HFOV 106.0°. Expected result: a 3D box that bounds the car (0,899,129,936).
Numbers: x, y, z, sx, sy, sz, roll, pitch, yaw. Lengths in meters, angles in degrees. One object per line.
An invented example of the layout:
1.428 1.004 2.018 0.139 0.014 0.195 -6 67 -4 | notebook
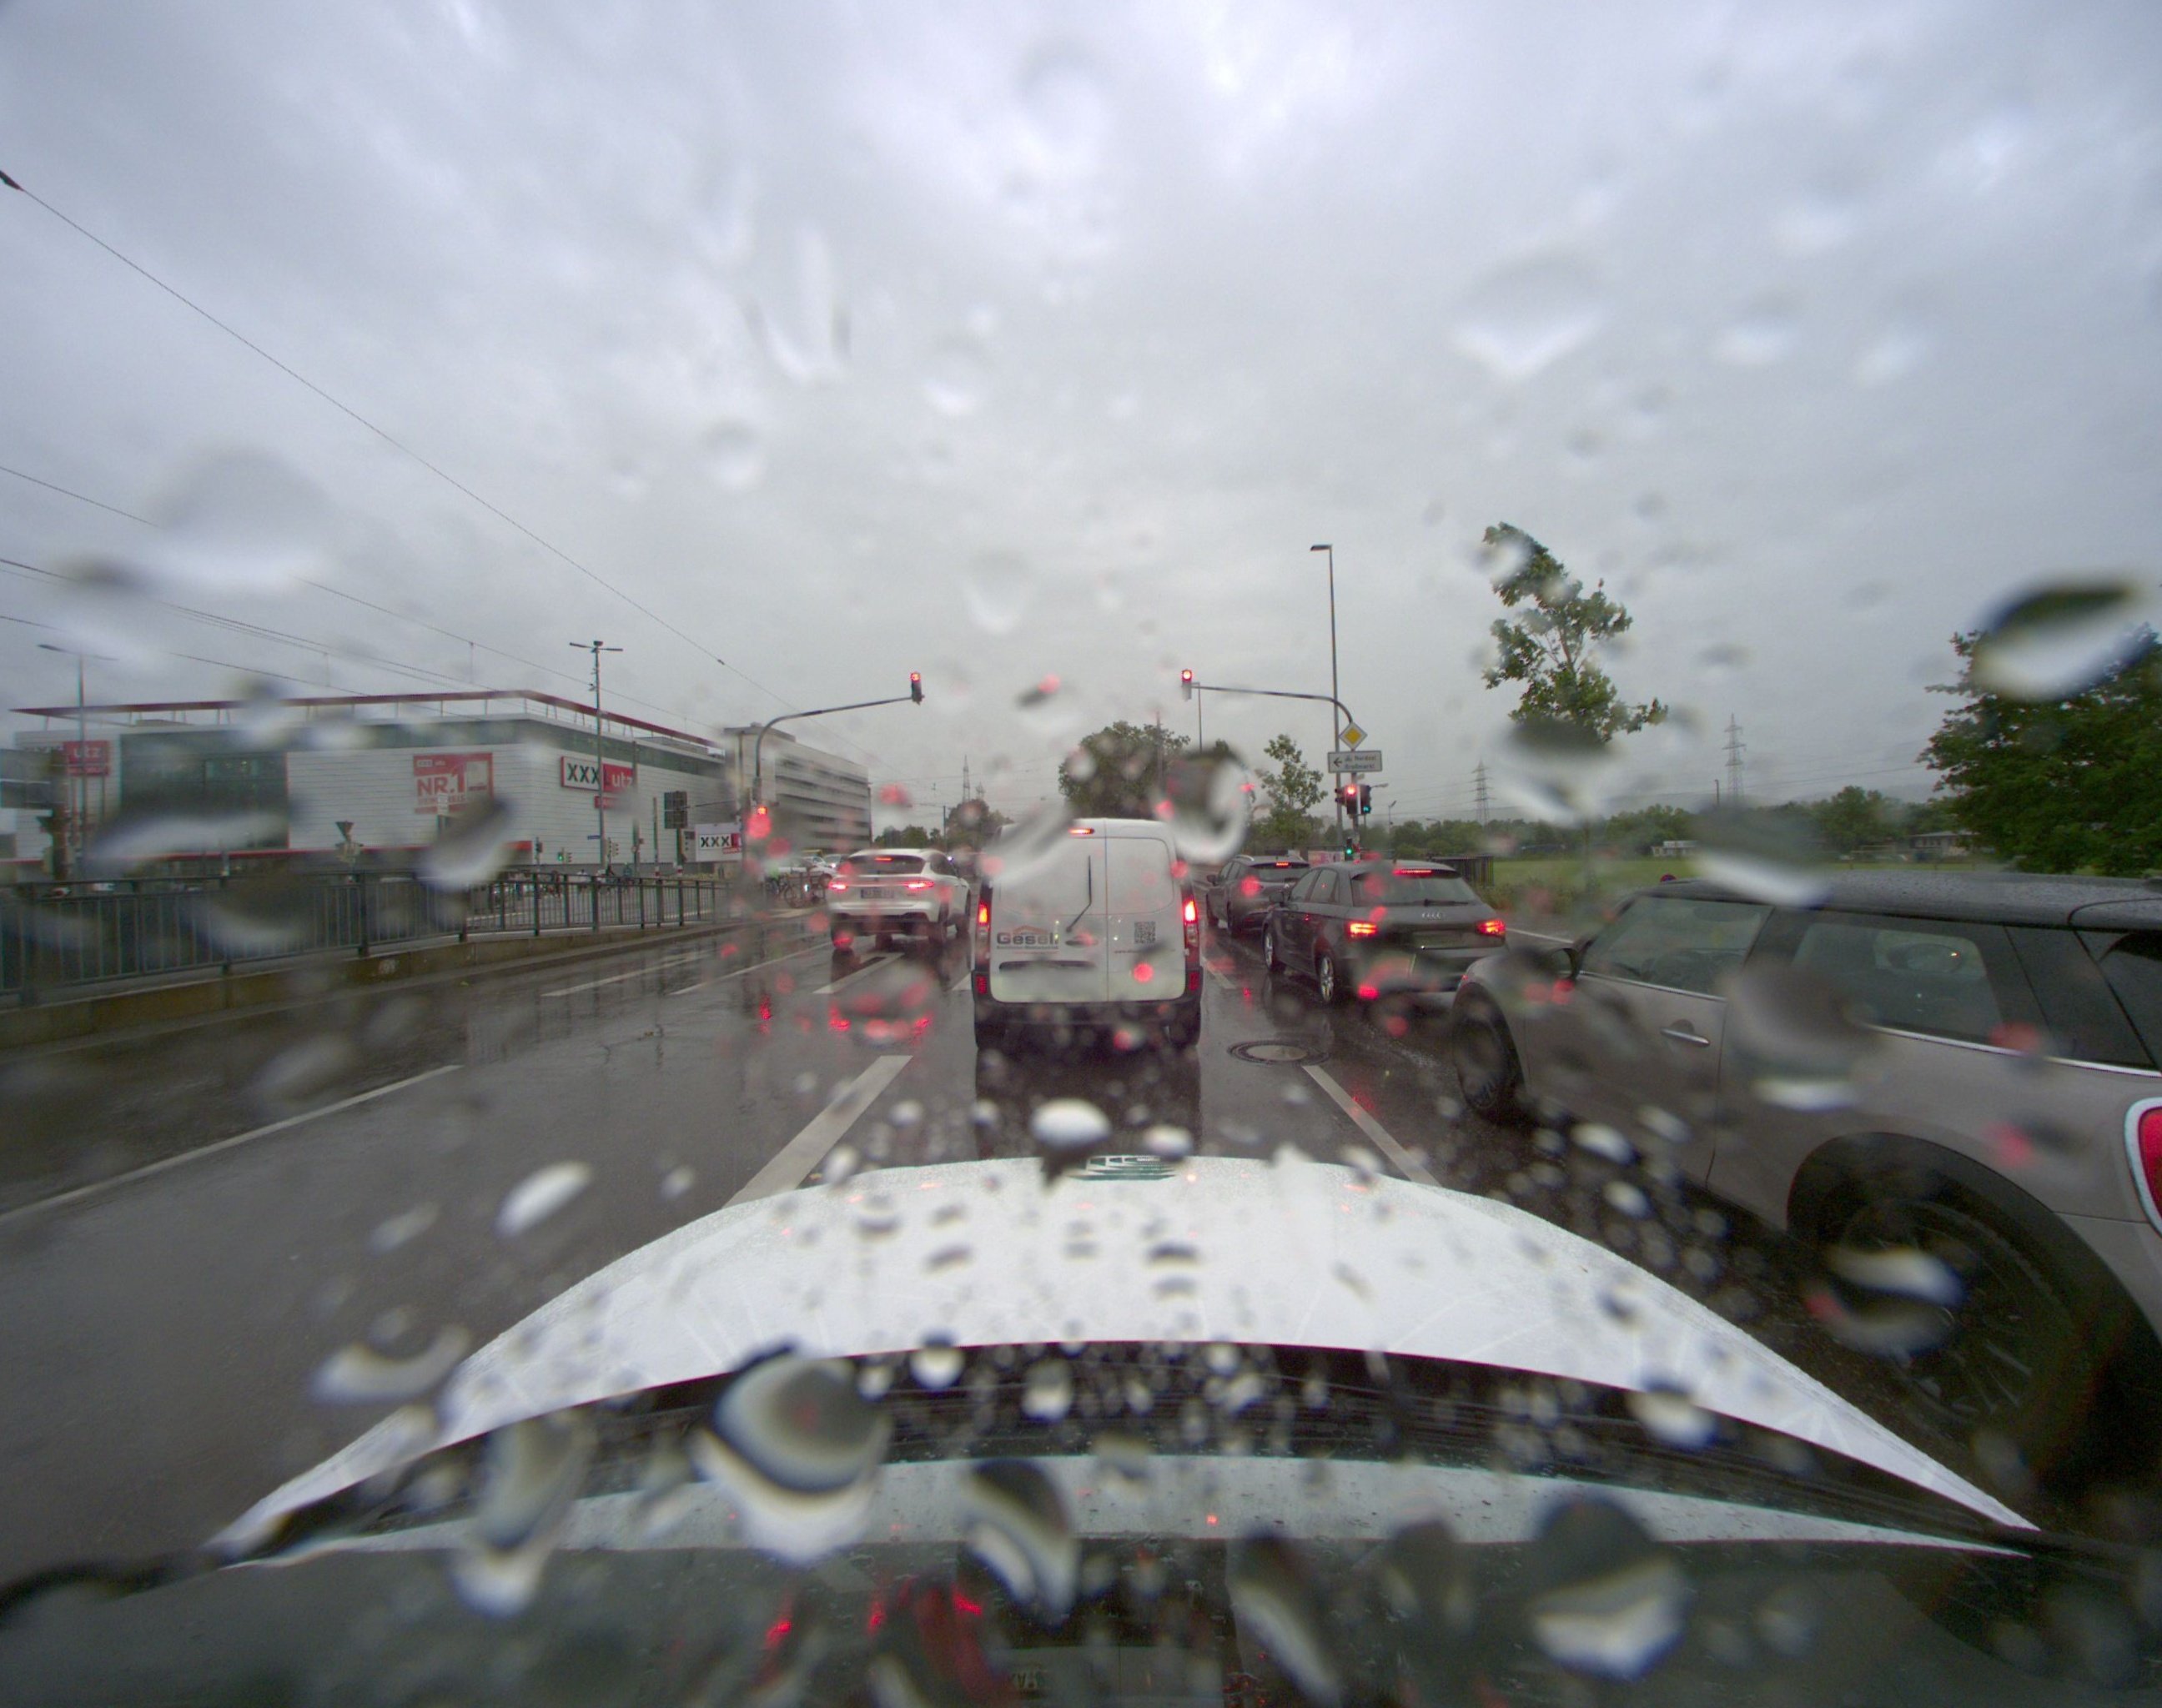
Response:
-41.738 2.534 32.868 4.059 1.376 1.598 1 -1 -16 | car

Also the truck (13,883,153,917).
-60.293 2.753 49.270 5.859 1.942 2.012 1 -1 0 | truck

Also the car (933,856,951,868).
-17.654 1.033 103.895 1.554 1.426 3.570 1 -1 2 | car

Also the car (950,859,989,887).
-6.541 1.101 48.141 1.628 1.522 3.777 2 0 2 | car

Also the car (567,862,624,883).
-33.167 1.281 55.733 1.473 1.354 3.810 1 -1 2 | car

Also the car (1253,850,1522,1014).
3.092 0.681 9.013 1.592 1.366 3.630 -2 0 0 | car

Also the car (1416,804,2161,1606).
2.952 0.702 3.286 1.696 1.508 3.881 1 -1 2 | car

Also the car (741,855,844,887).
-13.583 0.782 38.411 4.271 1.428 1.632 1 -1 -36 | car

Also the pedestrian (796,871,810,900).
-8.822 0.987 25.874 0.314 0.897 0.380 1 0 -1 | pedestrian

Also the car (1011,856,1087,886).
-1.650 0.890 42.443 3.763 1.507 1.631 1 -1 -42 | car

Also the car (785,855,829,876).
-19.424 0.811 57.812 1.704 1.426 3.810 1 -1 2 | car

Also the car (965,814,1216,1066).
0.017 0.578 7.821 1.749 1.750 4.166 -1 1 -2 | car

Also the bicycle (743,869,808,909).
-8.941 1.020 23.855 1.759 1.137 0.516 0 -1 -20 | bicycle

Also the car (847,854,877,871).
-19.041 0.782 70.954 1.554 1.426 3.570 1 -1 2 | car

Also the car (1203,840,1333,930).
3.423 0.522 15.597 1.678 1.508 3.921 0 0 1 | car

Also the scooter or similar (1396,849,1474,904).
8.526 0.498 19.764 0.687 1.211 3.022 -2 0 3 | scooter or similar

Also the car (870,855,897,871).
-18.867 0.875 78.035 1.554 1.426 3.570 1 -1 2 | car

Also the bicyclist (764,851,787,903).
-8.975 0.667 23.908 0.605 1.491 0.596 0 -1 -18 | bicyclist

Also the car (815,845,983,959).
-3.133 0.764 15.107 1.923 1.775 4.665 0 0 2 | car

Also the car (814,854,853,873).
-19.327 0.774 63.721 1.704 1.426 3.810 1 -1 2 | car
